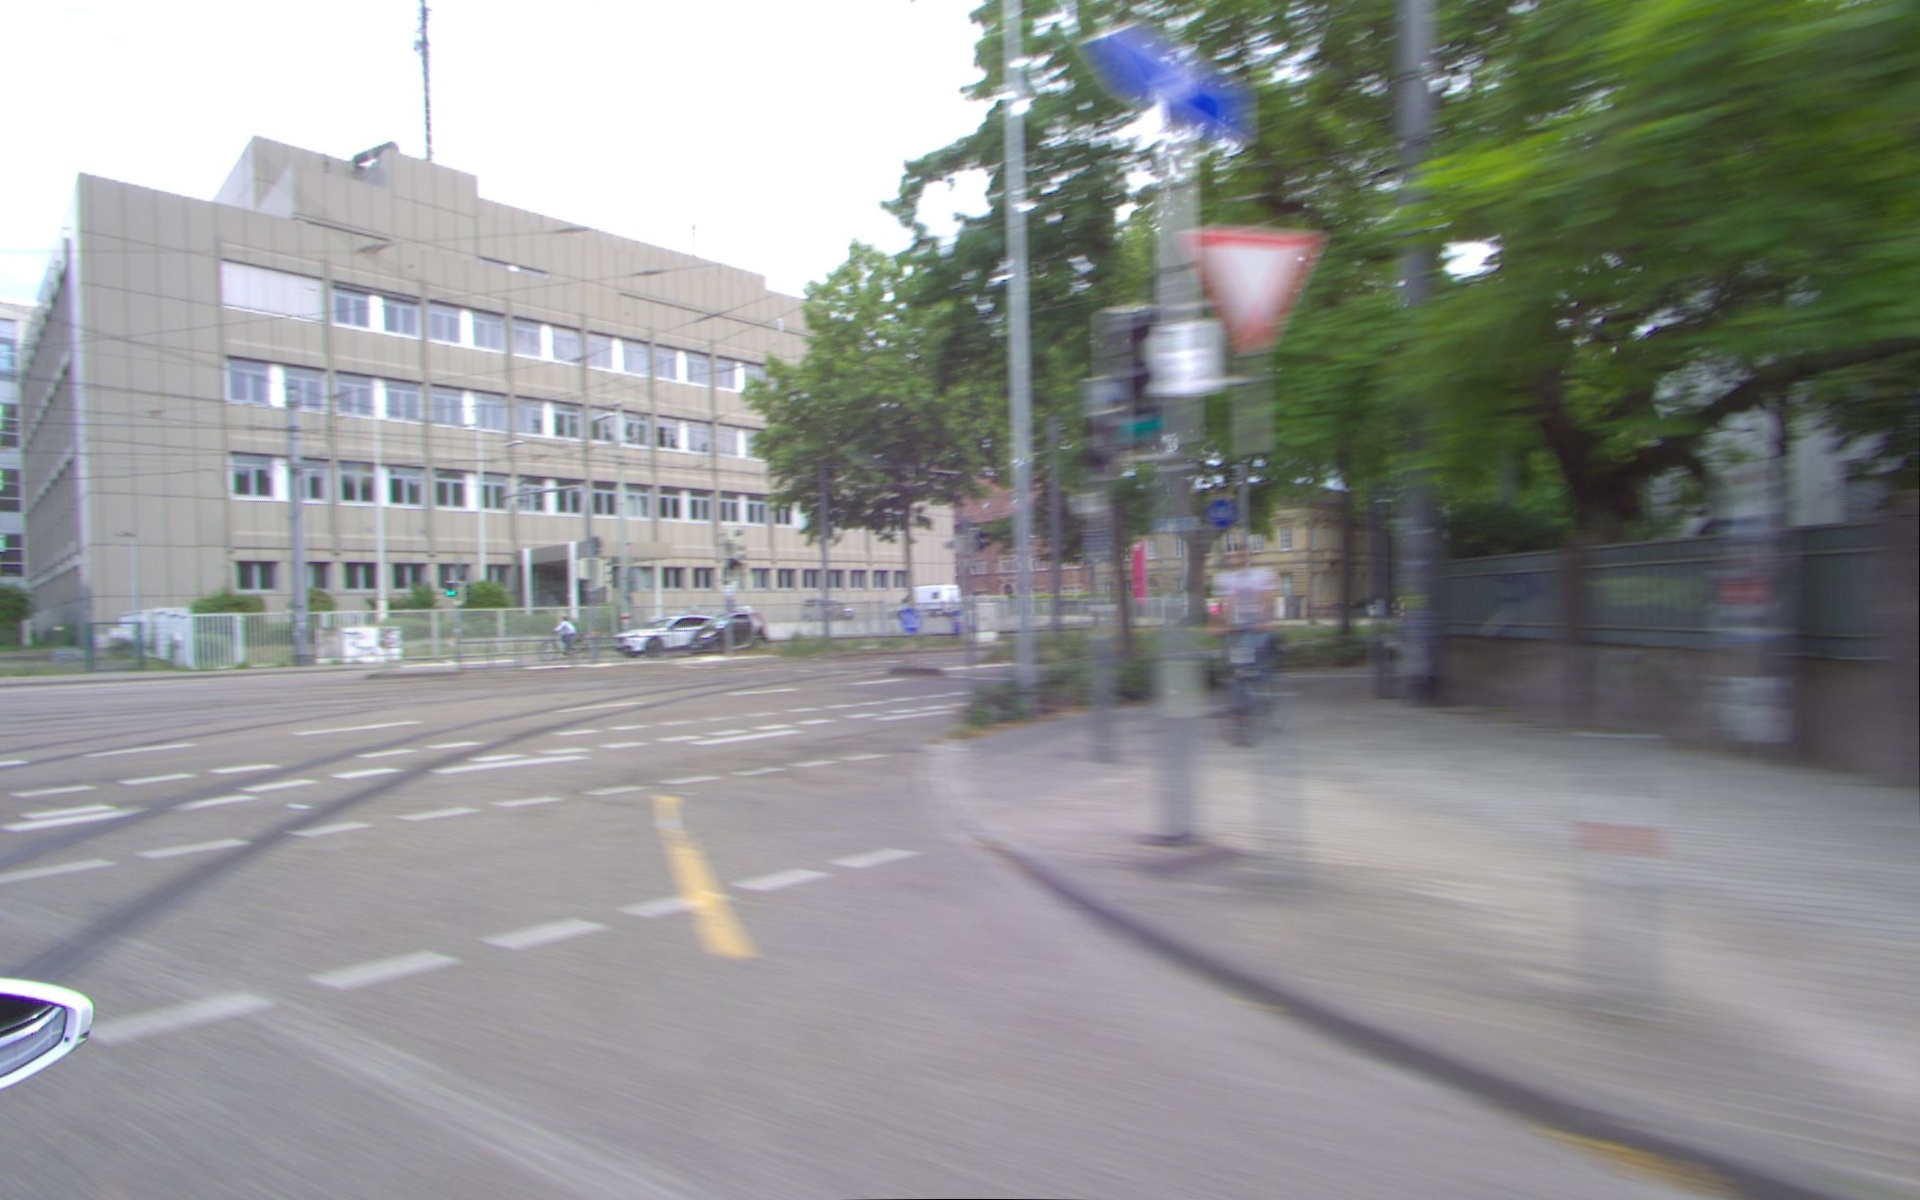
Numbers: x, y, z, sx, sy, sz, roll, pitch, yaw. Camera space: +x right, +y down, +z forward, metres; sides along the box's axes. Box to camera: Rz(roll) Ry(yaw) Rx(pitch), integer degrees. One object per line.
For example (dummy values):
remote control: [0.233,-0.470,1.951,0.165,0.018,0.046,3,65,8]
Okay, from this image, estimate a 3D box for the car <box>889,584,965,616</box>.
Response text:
car: [-2.650,0.049,79.143,5.832,2.430,2.548,-1,0,41]

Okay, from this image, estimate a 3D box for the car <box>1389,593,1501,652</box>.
car: [14.049,0.603,28.874,1.718,1.582,4.381,-1,0,43]

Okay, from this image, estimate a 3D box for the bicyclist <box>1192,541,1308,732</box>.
bicyclist: [2.931,0.341,10.054,0.737,1.784,1.246,-3,1,31]

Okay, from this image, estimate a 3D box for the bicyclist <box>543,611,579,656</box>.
bicyclist: [-15.535,1.307,39.017,1.160,1.724,0.802,0,0,-14]

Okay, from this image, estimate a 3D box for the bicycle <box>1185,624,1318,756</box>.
bicycle: [2.978,0.847,10.075,0.740,1.101,2.005,-3,0,31]

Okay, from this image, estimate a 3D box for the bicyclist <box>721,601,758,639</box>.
bicyclist: [-9.332,0.842,42.368,1.315,1.570,0.795,-1,0,-43]

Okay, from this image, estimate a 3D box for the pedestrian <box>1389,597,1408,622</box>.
pedestrian: [33.848,0.727,77.279,1.161,1.889,0.830,-1,0,-37]

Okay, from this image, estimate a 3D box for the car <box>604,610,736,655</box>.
car: [-10.838,1.190,37.598,1.980,1.524,4.378,-1,0,45]

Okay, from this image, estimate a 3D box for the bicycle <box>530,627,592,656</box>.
bicycle: [-15.542,1.601,39.017,2.144,1.101,0.802,0,0,-14]

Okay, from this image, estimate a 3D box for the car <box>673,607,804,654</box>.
car: [-8.024,1.076,36.506,4.374,1.587,1.820,-1,0,-42]

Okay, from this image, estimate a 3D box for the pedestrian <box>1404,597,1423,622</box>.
pedestrian: [34.654,0.729,76.443,1.237,1.889,0.830,-1,0,-38]
